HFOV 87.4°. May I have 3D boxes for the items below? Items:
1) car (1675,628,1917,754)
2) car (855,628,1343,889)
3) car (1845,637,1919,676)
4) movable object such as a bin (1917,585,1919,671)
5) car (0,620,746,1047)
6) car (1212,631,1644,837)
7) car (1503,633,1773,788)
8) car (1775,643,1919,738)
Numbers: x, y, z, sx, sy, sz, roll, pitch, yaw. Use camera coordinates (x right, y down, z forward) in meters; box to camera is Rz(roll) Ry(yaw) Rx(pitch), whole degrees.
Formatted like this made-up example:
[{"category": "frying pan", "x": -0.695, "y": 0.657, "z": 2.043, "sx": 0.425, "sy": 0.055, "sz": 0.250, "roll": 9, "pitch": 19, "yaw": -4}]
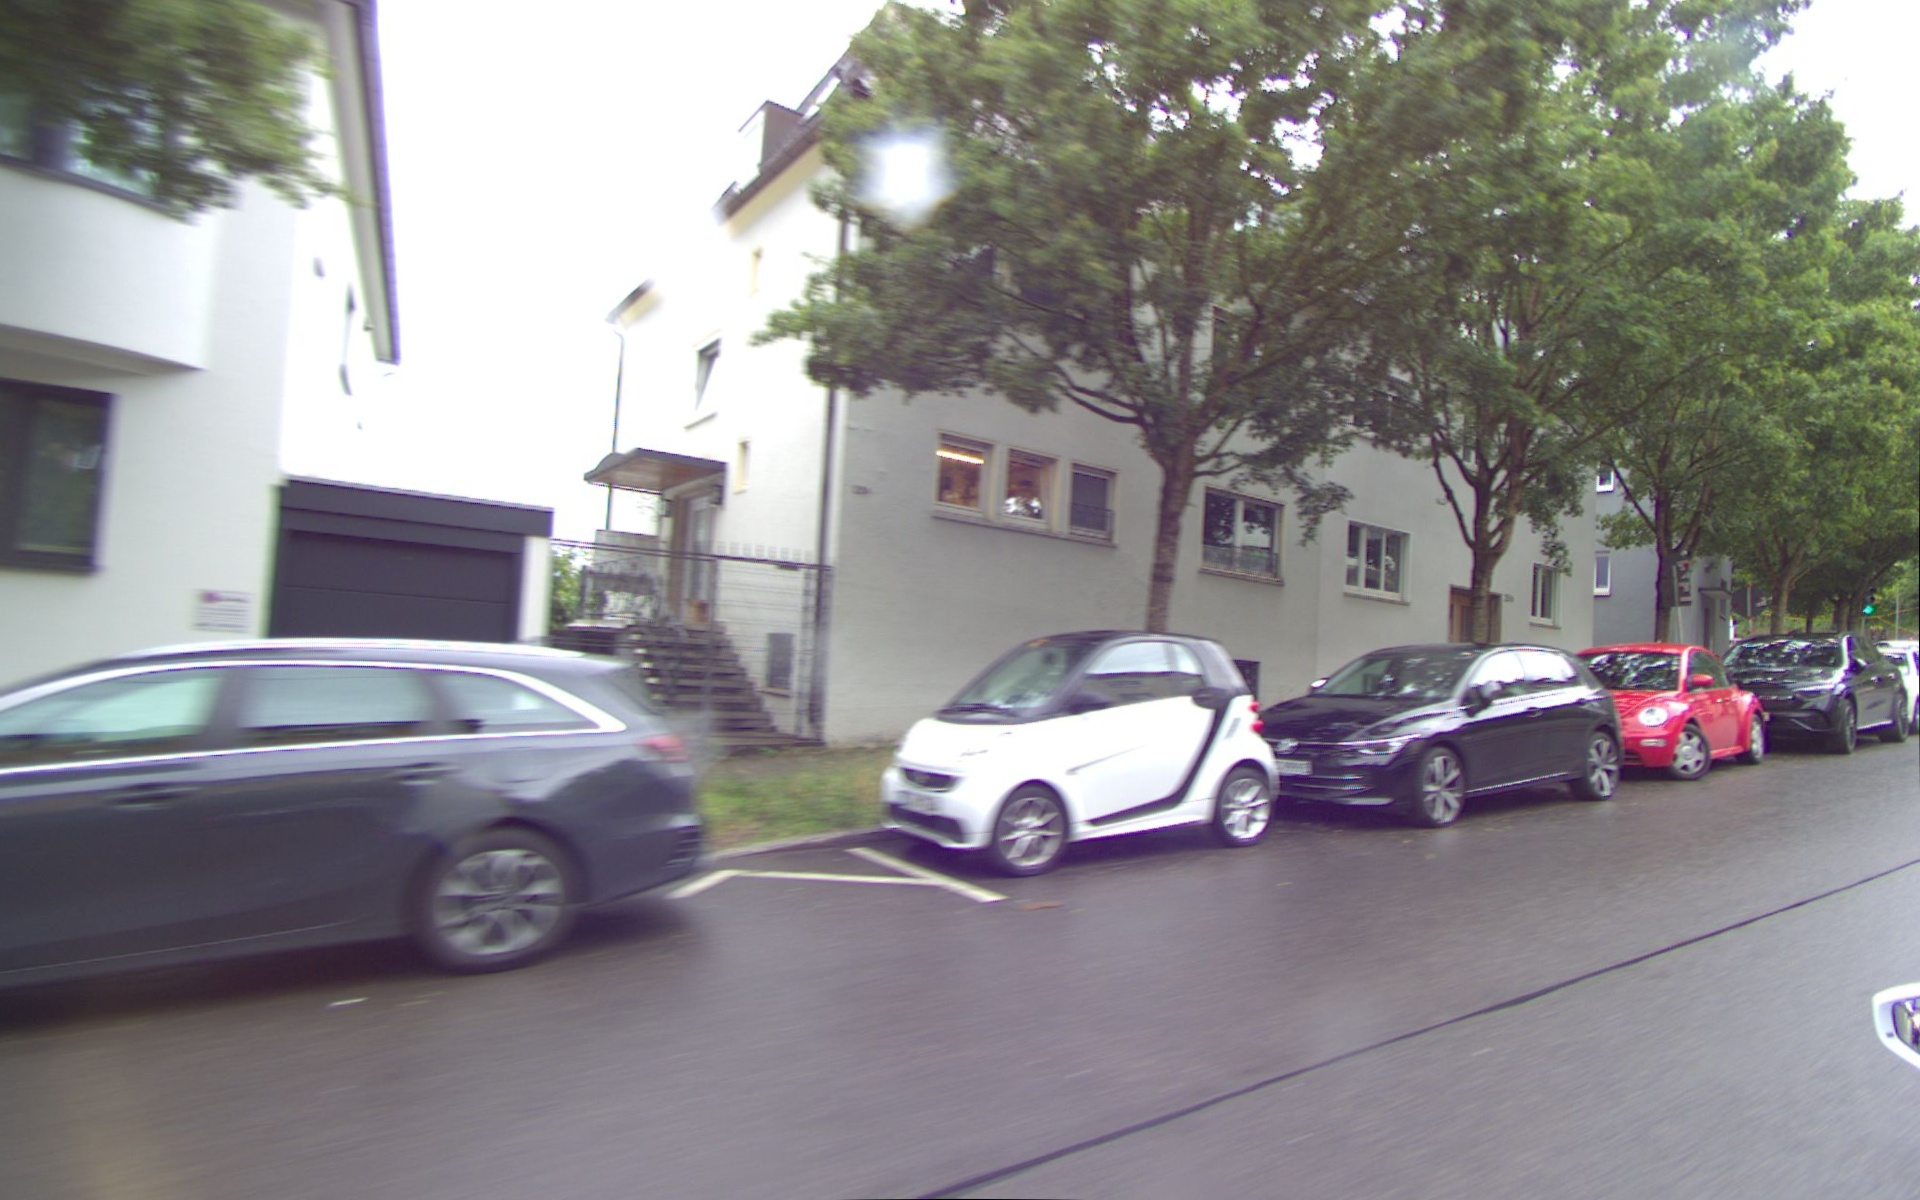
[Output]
[{"category": "car", "x": 12.604, "y": 1.298, "z": 15.050, "sx": 4.533, "sy": 1.629, "sz": 1.671, "roll": 1, "pitch": -6, "yaw": -37}, {"category": "car", "x": 1.061, "y": 1.062, "z": 7.473, "sx": 3.344, "sy": 1.530, "sz": 1.549, "roll": 2, "pitch": -6, "yaw": -30}, {"category": "car", "x": 37.572, "y": 2.252, "z": 40.315, "sx": 1.692, "sy": 1.505, "sz": 4.077, "roll": -1, "pitch": -3, "yaw": 21}, {"category": "movable object such as a bin", "x": 44.795, "y": 1.239, "z": 43.869, "sx": 2.779, "sy": 4.067, "sz": 7.311, "roll": 0, "pitch": -1, "yaw": 31}, {"category": "car", "x": -3.369, "y": 0.917, "z": 4.562, "sx": 4.420, "sy": 1.507, "sz": 1.658, "roll": 2, "pitch": -6, "yaw": -29}, {"category": "car", "x": 4.332, "y": 1.129, "z": 9.138, "sx": 4.052, "sy": 1.507, "sz": 1.548, "roll": 3, "pitch": -6, "yaw": -32}, {"category": "car", "x": 8.270, "y": 1.296, "z": 12.154, "sx": 3.817, "sy": 1.584, "sz": 1.620, "roll": 4, "pitch": -7, "yaw": -39}, {"category": "car", "x": 16.501, "y": 1.567, "z": 18.155, "sx": 4.275, "sy": 1.528, "sz": 1.671, "roll": 1, "pitch": -5, "yaw": -36}]
